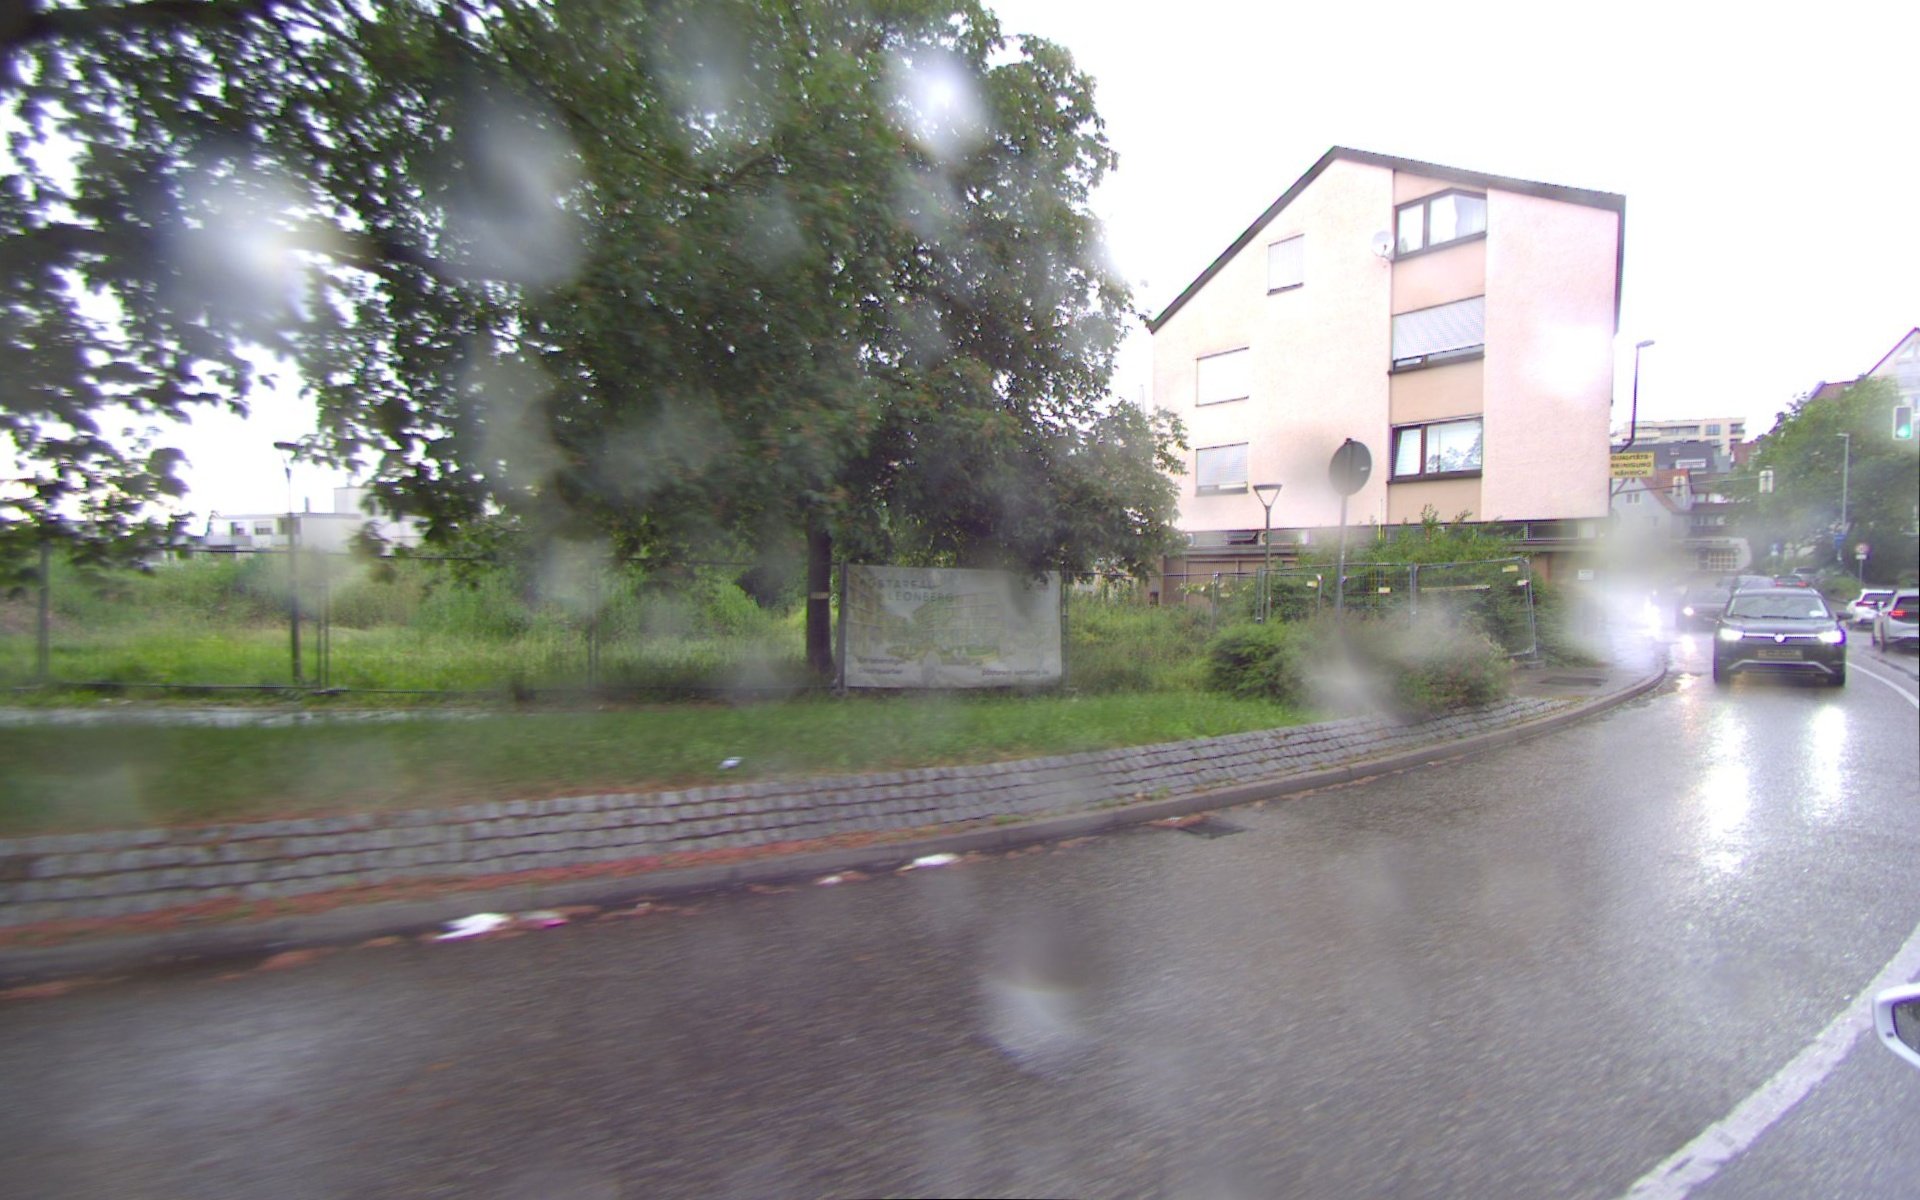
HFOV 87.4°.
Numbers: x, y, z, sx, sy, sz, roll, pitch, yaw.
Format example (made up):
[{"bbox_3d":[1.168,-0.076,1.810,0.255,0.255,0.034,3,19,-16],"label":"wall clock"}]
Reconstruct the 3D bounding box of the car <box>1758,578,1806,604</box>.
[{"bbox_3d":[51.303,-0.582,62.748,1.866,1.612,3.679,0,1,32],"label":"car"}]

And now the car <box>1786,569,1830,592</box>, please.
[{"bbox_3d":[62.863,-1.462,74.542,1.825,1.663,3.862,0,2,30],"label":"car"}]

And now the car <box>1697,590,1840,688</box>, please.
[{"bbox_3d":[15.087,0.657,18.879,1.870,1.616,4.337,-1,-1,38],"label":"car"}]

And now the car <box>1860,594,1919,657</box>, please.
[{"bbox_3d":[23.702,0.604,24.917,1.796,1.378,3.971,2,3,39],"label":"car"}]

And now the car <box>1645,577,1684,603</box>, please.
[{"bbox_3d":[40.273,-0.583,57.502,1.667,1.391,4.101,0,2,33],"label":"car"}]

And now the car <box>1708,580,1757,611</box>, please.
[{"bbox_3d":[44.656,-0.282,58.157,1.759,1.584,4.390,3,3,32],"label":"car"}]

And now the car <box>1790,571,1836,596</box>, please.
[{"bbox_3d":[59.137,-1.179,69.674,1.825,1.663,3.530,0,2,30],"label":"car"}]

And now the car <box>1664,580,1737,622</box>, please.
[{"bbox_3d":[26.186,0.022,35.640,1.745,1.421,3.910,0,0,32],"label":"car"}]

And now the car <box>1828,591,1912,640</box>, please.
[{"bbox_3d":[32.879,0.563,36.386,1.705,1.611,4.170,3,1,36],"label":"car"}]

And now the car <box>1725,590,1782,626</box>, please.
[{"bbox_3d":[40.856,0.369,51.829,1.759,1.584,4.390,3,3,32],"label":"car"}]

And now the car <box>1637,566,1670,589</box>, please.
[{"bbox_3d":[50.291,-1.636,72.894,1.759,1.582,4.325,1,2,32],"label":"car"}]
